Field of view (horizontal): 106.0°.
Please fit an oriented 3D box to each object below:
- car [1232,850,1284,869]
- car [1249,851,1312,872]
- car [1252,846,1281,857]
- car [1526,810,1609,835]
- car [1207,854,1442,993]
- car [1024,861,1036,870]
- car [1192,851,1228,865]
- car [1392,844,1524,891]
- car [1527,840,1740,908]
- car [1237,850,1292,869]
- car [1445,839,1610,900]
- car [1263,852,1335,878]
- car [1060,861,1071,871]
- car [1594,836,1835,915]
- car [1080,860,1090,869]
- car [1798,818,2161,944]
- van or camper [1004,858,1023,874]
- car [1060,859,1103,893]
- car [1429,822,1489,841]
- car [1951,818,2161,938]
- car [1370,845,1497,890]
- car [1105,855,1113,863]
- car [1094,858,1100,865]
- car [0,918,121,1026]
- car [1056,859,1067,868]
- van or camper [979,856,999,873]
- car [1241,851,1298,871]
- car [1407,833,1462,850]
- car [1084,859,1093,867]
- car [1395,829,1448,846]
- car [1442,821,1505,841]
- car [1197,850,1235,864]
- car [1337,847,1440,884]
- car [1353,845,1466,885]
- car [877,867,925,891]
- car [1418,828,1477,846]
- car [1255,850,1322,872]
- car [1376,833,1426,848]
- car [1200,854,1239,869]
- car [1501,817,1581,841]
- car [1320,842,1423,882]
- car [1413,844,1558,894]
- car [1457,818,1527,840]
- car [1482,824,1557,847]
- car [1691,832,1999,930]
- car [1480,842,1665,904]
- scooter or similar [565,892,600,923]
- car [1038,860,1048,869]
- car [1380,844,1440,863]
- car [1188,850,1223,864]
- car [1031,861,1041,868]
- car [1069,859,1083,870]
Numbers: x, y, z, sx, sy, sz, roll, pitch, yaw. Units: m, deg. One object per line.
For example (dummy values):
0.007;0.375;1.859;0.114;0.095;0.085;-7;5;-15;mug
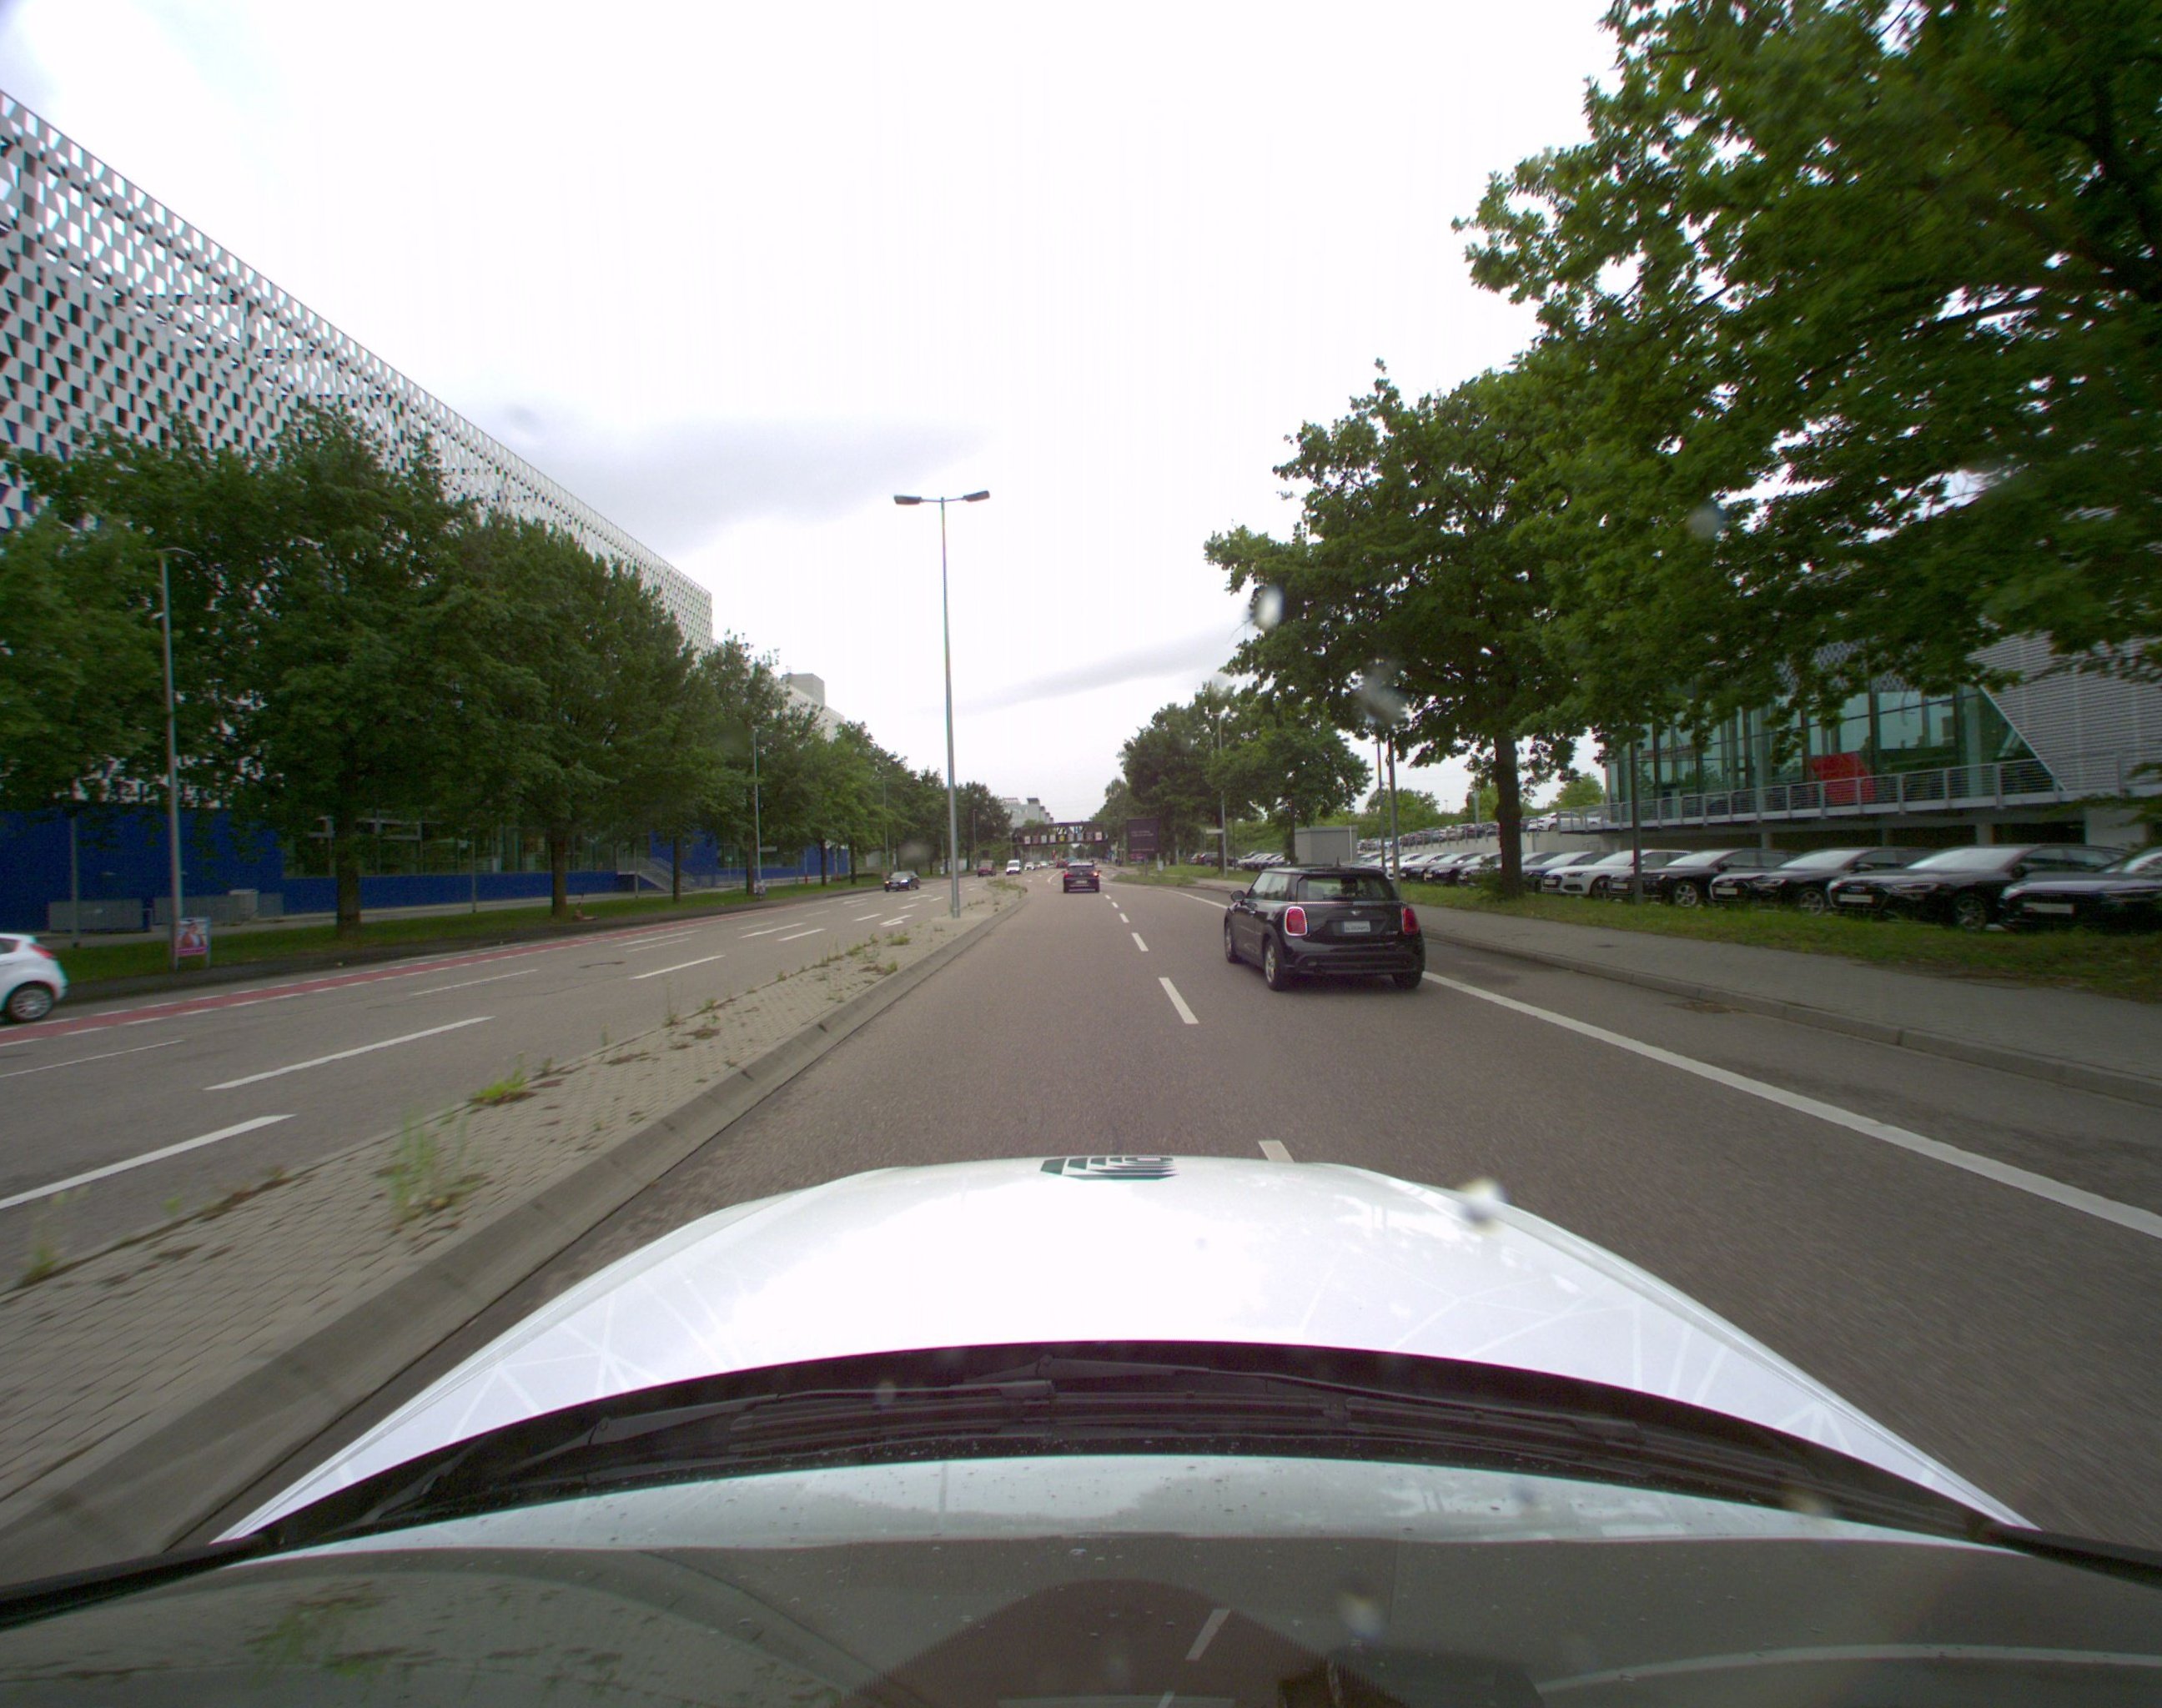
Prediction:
14.942;0.480;68.864;4.073;1.435;1.730;-1;1;-1;car
15.036;0.563;61.520;4.329;1.488;1.843;-1;0;-1;car
26.951;-0.411;118.269;3.966;1.435;1.734;-1;1;6;car
31.399;-2.021;52.629;4.323;1.496;1.881;-1;1;-1;car
2.888;0.785;10.507;1.781;1.416;3.639;-2;-2;-2;car
-9.305;2.058;148.890;1.747;1.446;3.342;-1;1;3;car
14.367;0.442;90.753;3.966;1.435;1.734;-1;1;6;car
14.543;0.512;31.620;4.160;1.469;2.001;4;2;1;car
14.271;0.480;21.211;4.183;1.486;1.959;3;1;-1;car
14.940;0.456;66.546;4.073;1.435;1.846;-1;1;-1;car
14.280;0.475;26.237;4.160;1.662;2.001;3;1;1;car
15.079;0.724;56.414;4.431;1.571;2.000;-3;0;-1;car
-3.263;2.417;169.057;1.942;1.815;4.004;-1;1;3;car
14.335;0.444;18.605;4.051;1.485;1.819;3;1;-1;car
0.843;2.182;175.492;1.942;1.815;4.004;-1;1;3;car
14.496;0.397;13.087;4.224;1.602;1.876;4;1;-1;car
-8.150;1.434;99.239;1.749;1.747;4.407;-5;0;1;van or camper
0.062;1.020;39.192;1.749;1.434;4.004;-2;1;3;car
30.571;-1.818;65.978;4.073;1.435;1.730;-1;1;-1;car
14.398;0.390;10.591;4.110;1.393;1.871;4;1;-1;car
14.737;0.526;34.229;4.378;1.520;2.001;4;2;1;car
7.334;1.306;214.723;1.942;1.815;4.004;-1;1;3;car
4.920;2.313;249.183;1.942;1.815;4.004;-1;1;3;car
-16.821;1.861;11.282;1.852;1.462;4.329;-4;0;-1;car
-3.872;1.865;162.308;1.876;1.661;3.785;-1;1;3;car
-11.265;1.265;100.011;1.869;1.986;4.889;-3;0;0;van or camper
14.827;0.531;64.139;4.073;1.435;1.821;-1;1;-1;car
30.746;-1.113;70.883;4.073;1.435;1.730;-1;1;-1;car
1.697;2.154;186.126;1.876;1.661;3.785;-1;1;3;car
30.728;-1.530;73.614;4.073;1.435;1.730;-1;1;-1;car
30.526;-1.792;63.338;4.073;1.496;1.730;-1;1;-1;car
14.526;0.346;87.736;3.966;1.435;1.734;-1;1;6;car
14.735;0.517;39.216;4.160;1.445;1.961;4;2;1;car
14.777;0.492;36.805;4.278;1.504;2.030;3;0;1;car
-12.861;1.764;58.518;1.908;1.502;4.260;-5;-1;7;car
30.698;-1.415;68.232;4.073;1.435;1.946;-1;1;-1;car
15.043;0.512;59.154;4.329;1.503;1.929;1;0;-1;car
30.933;-1.312;78.793;4.187;1.435;1.730;-1;1;-1;car
14.394;0.798;84.933;3.966;1.435;1.734;-1;1;6;car
31.282;-1.680;55.469;4.323;1.496;2.069;-1;1;-1;car
14.847;0.377;41.818;4.533;1.702;2.001;4;1;1;car
14.334;0.506;29.056;4.160;1.456;1.934;3;1;1;car
30.591;-1.850;60.702;4.323;1.496;1.881;-1;1;-1;car
31.133;-1.308;57.906;4.323;1.496;1.970;-1;1;-1;car
14.617;0.477;15.769;4.194;1.485;1.826;4;1;-1;car
14.226;0.523;23.769;4.167;1.486;1.977;3;1;0;car
-21.209;2.275;34.646;0.653;1.196;1.377;-1;0;-2;scooter or similar
-8.716;2.383;186.402;1.932;1.676;3.785;-1;1;3;car
26.079;-0.043;64.652;4.073;1.435;1.730;-1;1;-1;car
14.212;0.346;93.109;3.966;1.435;1.734;-1;1;6;car
-9.081;2.132;165.109;1.712;1.371;3.443;-1;1;3;car
-0.874;1.894;145.895;2.126;1.661;3.785;-1;1;3;car
